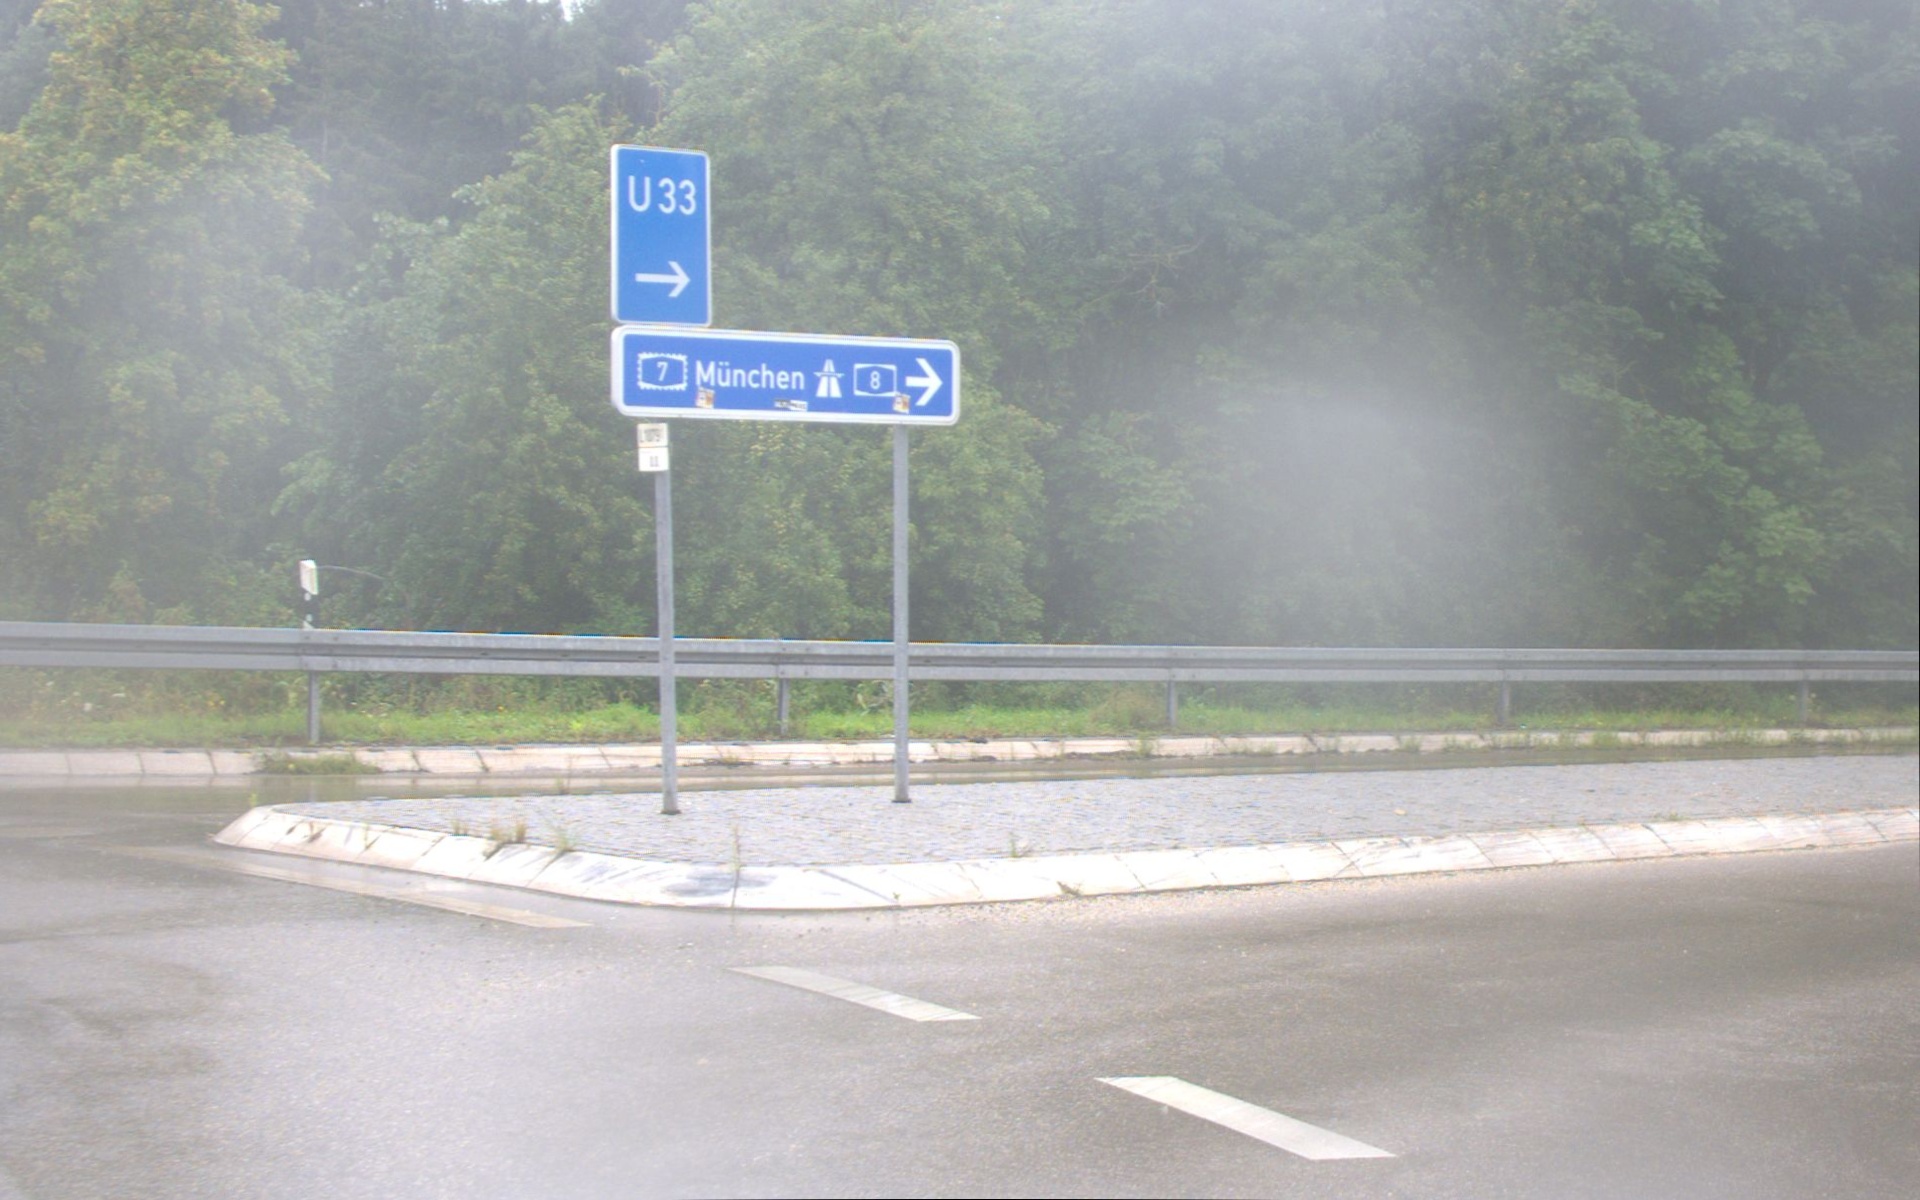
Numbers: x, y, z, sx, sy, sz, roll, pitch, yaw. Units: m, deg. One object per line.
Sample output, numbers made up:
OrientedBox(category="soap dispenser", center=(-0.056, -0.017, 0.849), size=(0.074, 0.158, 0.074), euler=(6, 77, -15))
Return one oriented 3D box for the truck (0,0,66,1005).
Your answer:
OrientedBox(category="truck", center=(-6.623, -0.888, 12.680), size=(3.040, 3.838, 8.820), euler=(1, 1, -39))
